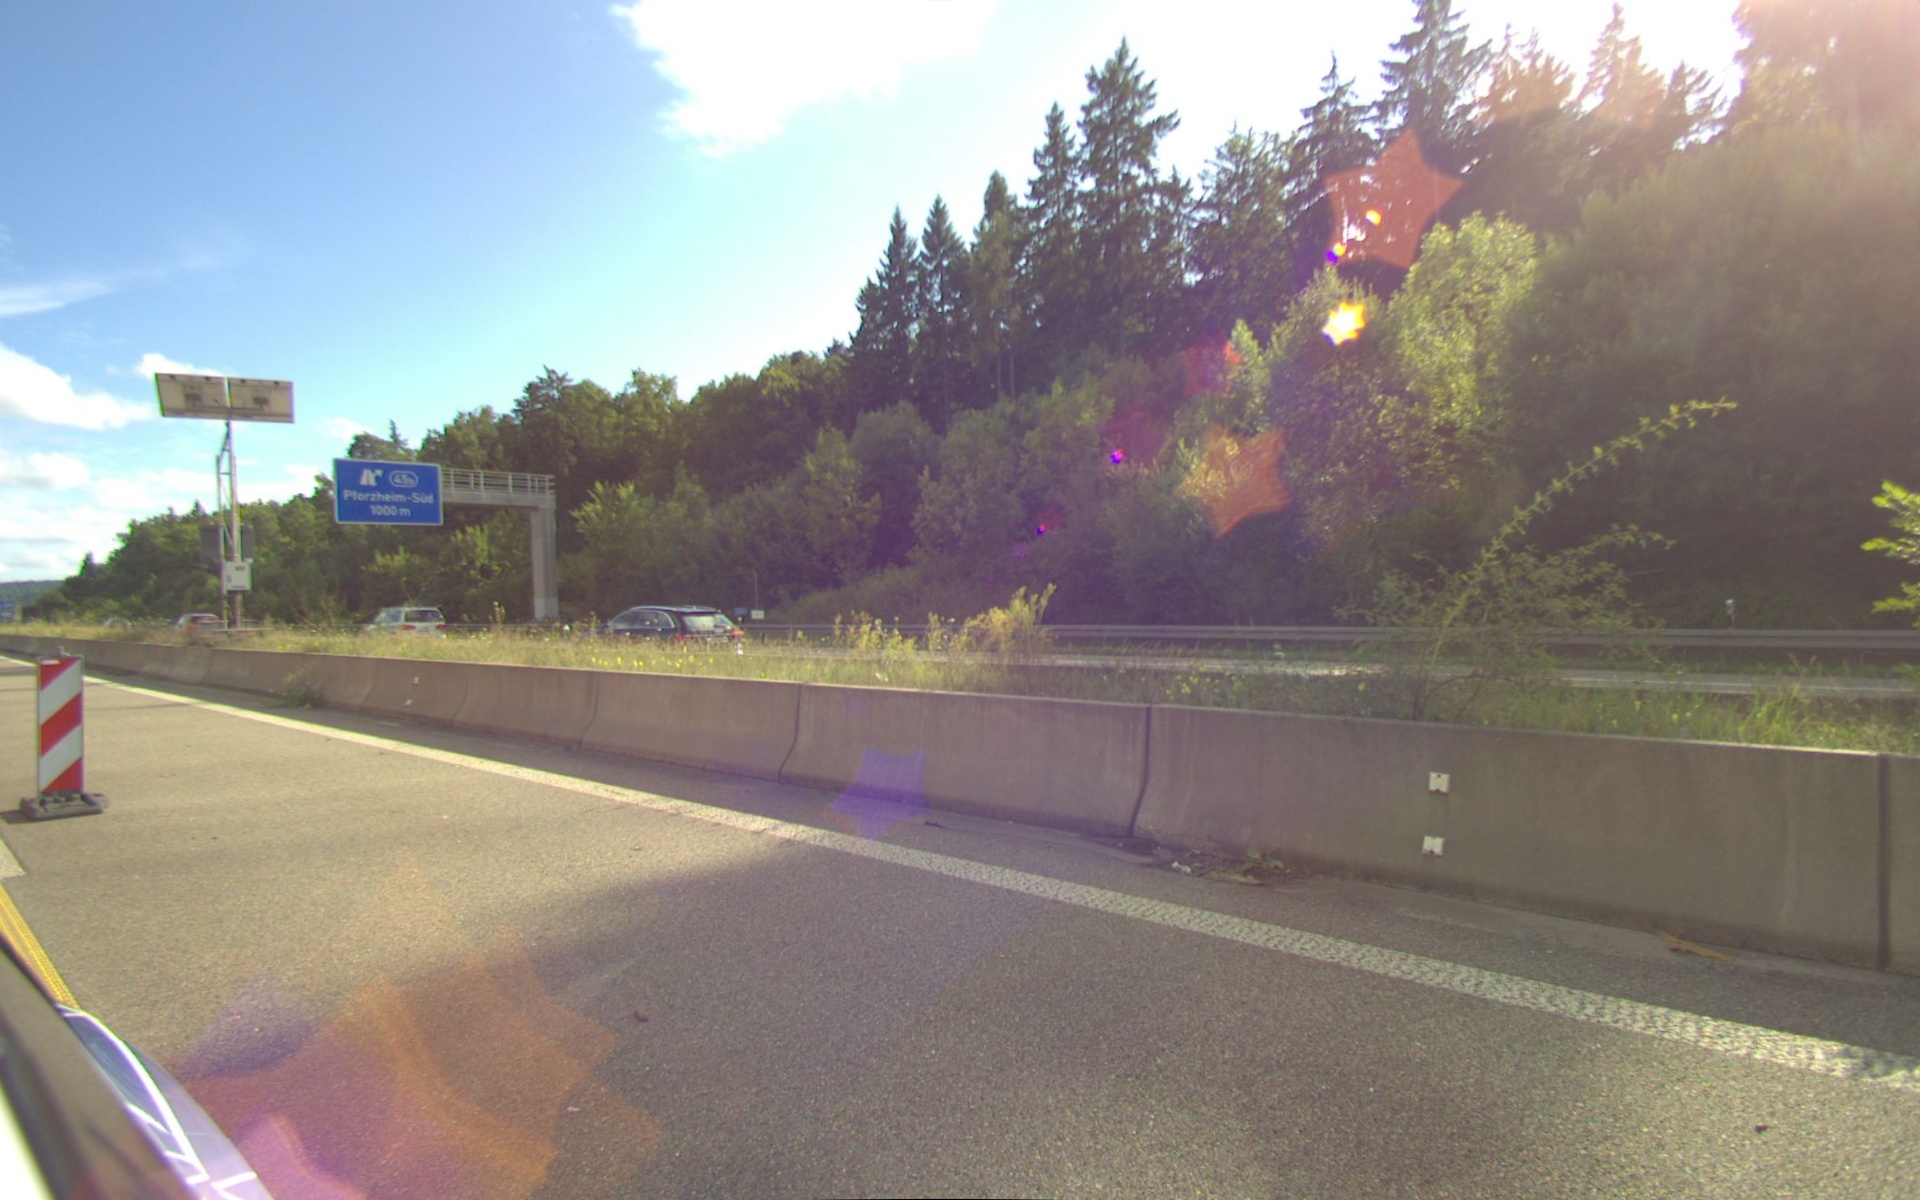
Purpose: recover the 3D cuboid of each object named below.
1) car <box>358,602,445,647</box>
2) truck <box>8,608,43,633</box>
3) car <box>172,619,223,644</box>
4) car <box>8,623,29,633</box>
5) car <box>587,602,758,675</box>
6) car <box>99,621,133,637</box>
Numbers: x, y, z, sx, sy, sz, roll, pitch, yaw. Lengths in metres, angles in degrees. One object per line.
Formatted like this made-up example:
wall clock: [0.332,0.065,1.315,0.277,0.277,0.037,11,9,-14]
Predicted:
car: [-21.138,0.912,38.274,3.910,1.593,1.643,-1,0,41]
truck: [-172.471,3.737,186.703,13.050,4.409,3.793,-1,0,43]
car: [-46.061,1.888,61.103,3.910,1.398,1.643,-1,0,41]
car: [-143.622,4.254,154.337,3.910,1.475,1.919,-1,0,41]
car: [-6.176,0.777,21.536,3.910,1.398,1.643,-1,0,41]
car: [-81.811,2.802,98.092,3.910,1.475,1.919,-1,0,41]
